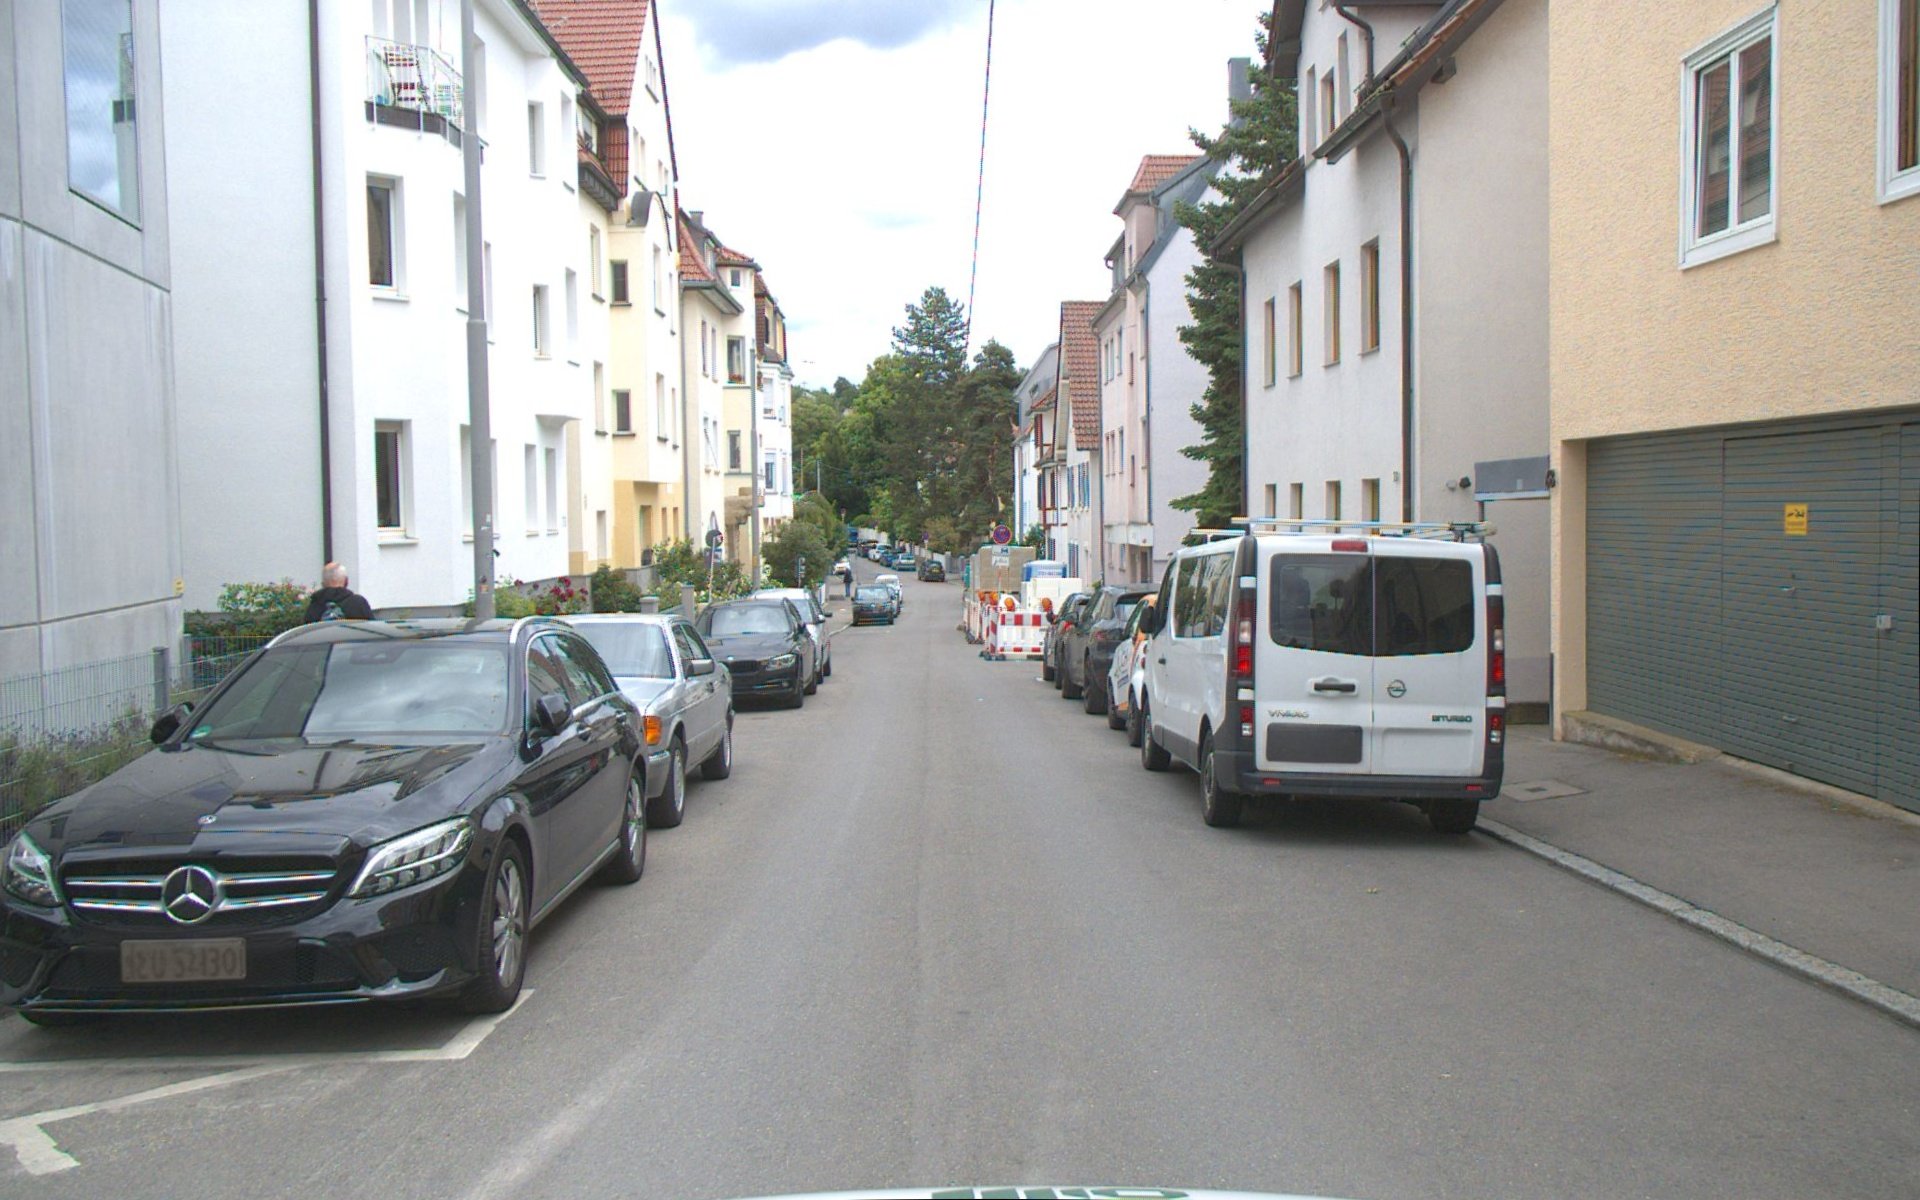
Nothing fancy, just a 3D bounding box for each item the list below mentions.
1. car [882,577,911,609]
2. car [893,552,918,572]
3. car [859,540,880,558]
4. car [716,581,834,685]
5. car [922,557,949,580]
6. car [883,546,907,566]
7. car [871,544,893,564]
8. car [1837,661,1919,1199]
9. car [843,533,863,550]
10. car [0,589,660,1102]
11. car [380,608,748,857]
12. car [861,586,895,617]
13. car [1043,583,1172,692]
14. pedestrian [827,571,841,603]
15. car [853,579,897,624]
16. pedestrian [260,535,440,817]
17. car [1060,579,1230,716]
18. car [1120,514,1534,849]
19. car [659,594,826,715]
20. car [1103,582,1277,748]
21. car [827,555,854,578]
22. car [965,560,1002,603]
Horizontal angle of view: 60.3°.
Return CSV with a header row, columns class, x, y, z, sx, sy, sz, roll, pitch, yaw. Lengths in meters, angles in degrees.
class,x,y,z,sx,sy,sz,roll,pitch,yaw
car,-3.875,-0.432,101.020,1.639,1.685,3.863,-2,4,-2
car,-4.646,-3.254,140.194,1.604,1.509,3.524,0,5,-10
car,-8.582,-4.830,156.494,1.604,1.563,3.524,0,5,-10
car,-3.223,0.522,29.466,1.808,1.659,4.284,-1,1,-3
car,-1.942,-2.454,128.339,1.604,1.509,3.525,0,5,-9
car,-5.710,-3.855,144.711,1.604,1.509,3.524,0,5,-10
car,-7.116,-4.210,150.797,1.604,1.563,3.524,0,5,-10
car,2.860,0.894,1.256,1.815,1.428,4.573,1,1,-2
car,-11.066,-6.037,170.981,1.604,1.563,3.524,0,5,-10
car,-2.578,0.768,7.373,1.858,1.554,4.468,-1,0,-3
car,-2.732,0.816,12.614,1.808,1.437,5.058,-1,0,-3
car,-4.112,0.070,83.360,1.609,1.441,3.982,-2,1,-2
car,2.339,0.551,27.110,1.680,1.593,4.073,1,1,-1
pedestrian,-7.804,-0.802,102.801,0.775,1.966,0.919,0,1,1
car,-3.786,0.034,72.999,1.808,1.847,4.541,-2,1,-4
pedestrian,-4.336,0.516,11.794,0.800,1.917,0.847,-1,1,21
car,2.387,0.556,22.359,1.678,1.624,4.498,1,1,-1
car,2.558,0.458,13.121,1.867,2.065,5.732,1,1,-1
car,-2.982,0.691,23.507,1.807,1.483,4.503,-2,0,-1
car,2.420,0.636,17.937,1.456,1.624,2.791,1,1,-1
car,-9.945,-2.765,137.488,1.644,1.685,3.850,-3,4,-14
car,1.378,-1.119,98.300,1.940,2.403,4.276,-1,2,-2
